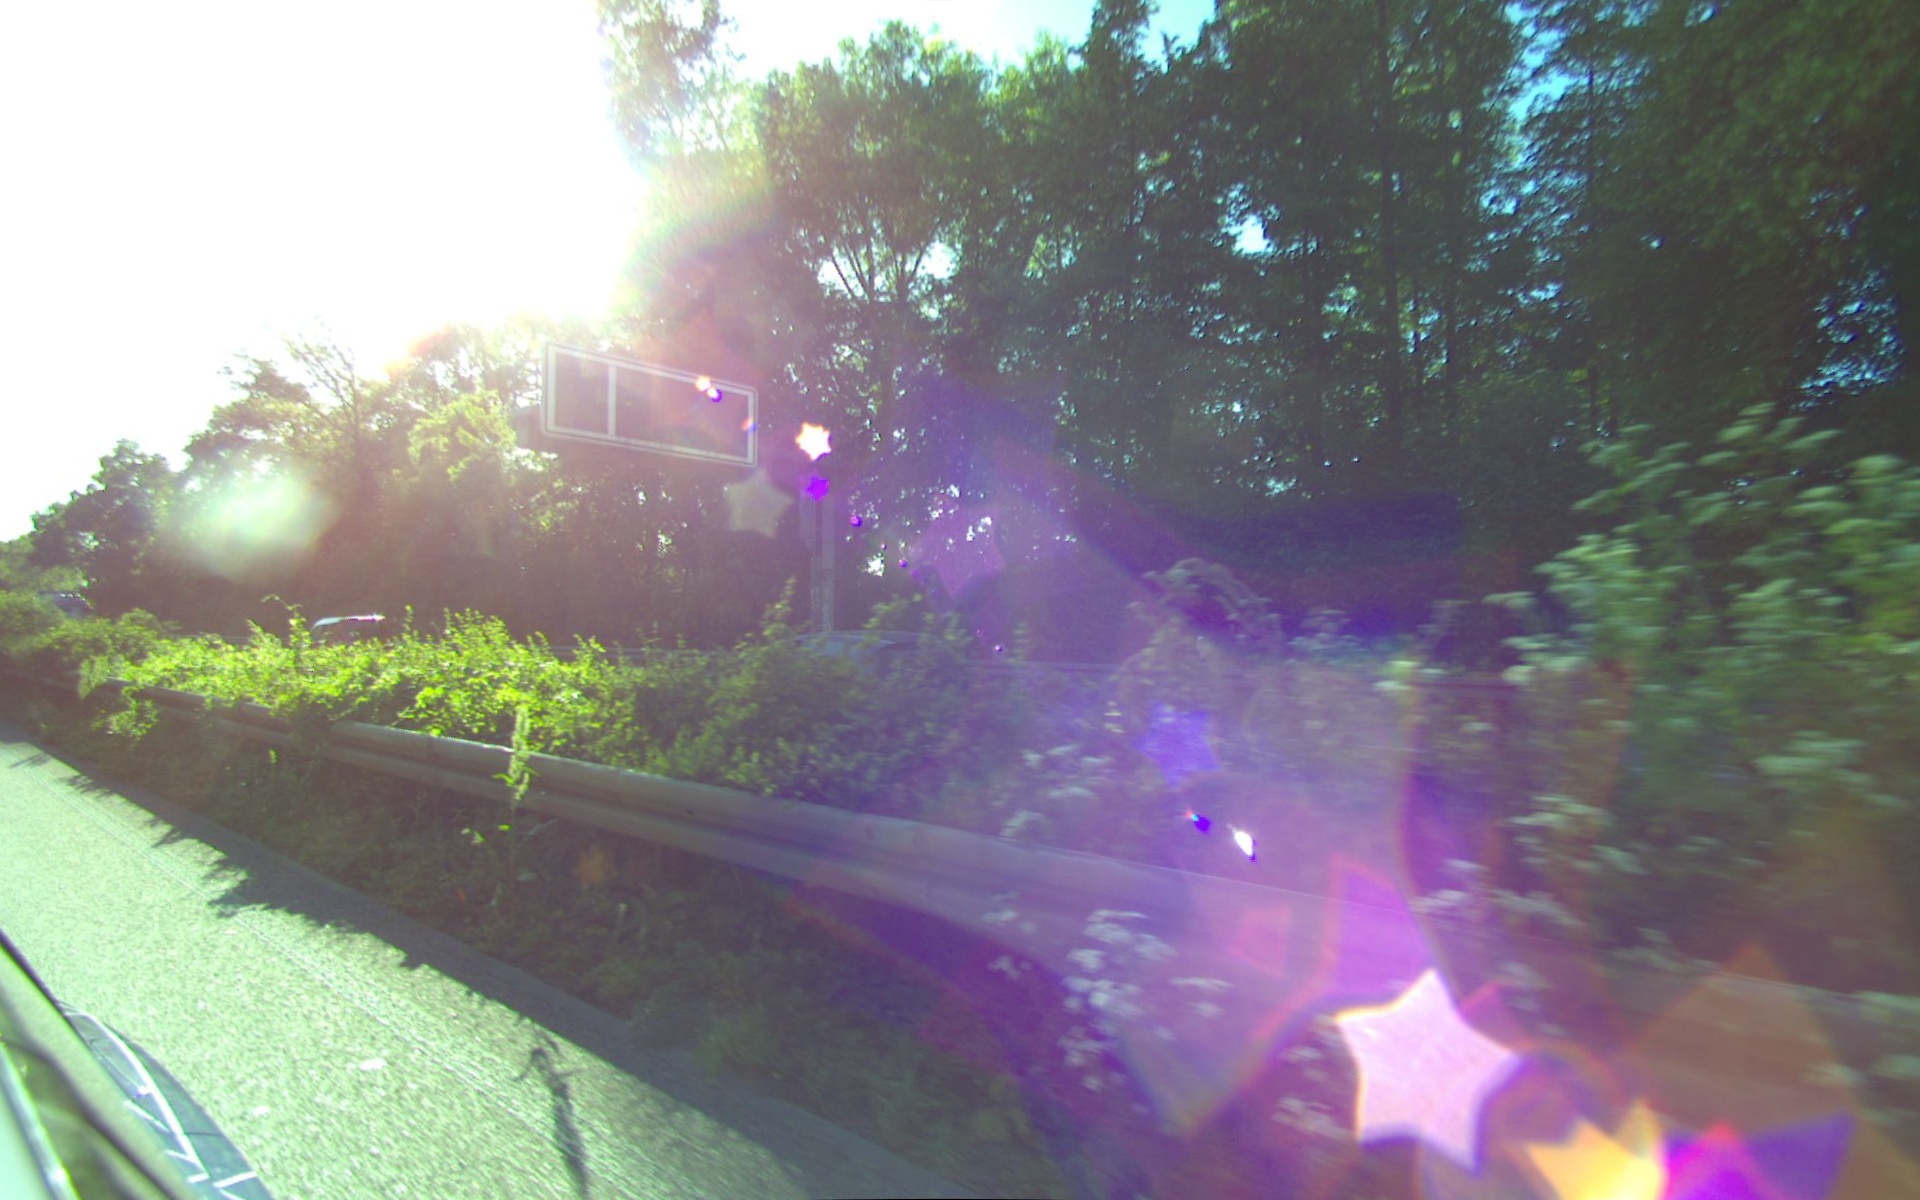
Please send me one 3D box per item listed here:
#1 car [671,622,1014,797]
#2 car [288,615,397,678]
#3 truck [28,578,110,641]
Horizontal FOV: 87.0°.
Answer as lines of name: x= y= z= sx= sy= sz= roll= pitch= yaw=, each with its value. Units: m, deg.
car: x=-1.474 y=1.096 z=11.756 sx=3.987 sy=1.628 sz=1.743 roll=-1 pitch=0 yaw=41
car: x=-19.782 y=1.422 z=32.341 sx=4.524 sy=1.824 sz=1.699 roll=-1 pitch=0 yaw=41
truck: x=-60.382 y=0.628 z=68.449 sx=11.462 sy=3.985 sz=2.740 roll=-1 pitch=0 yaw=42
